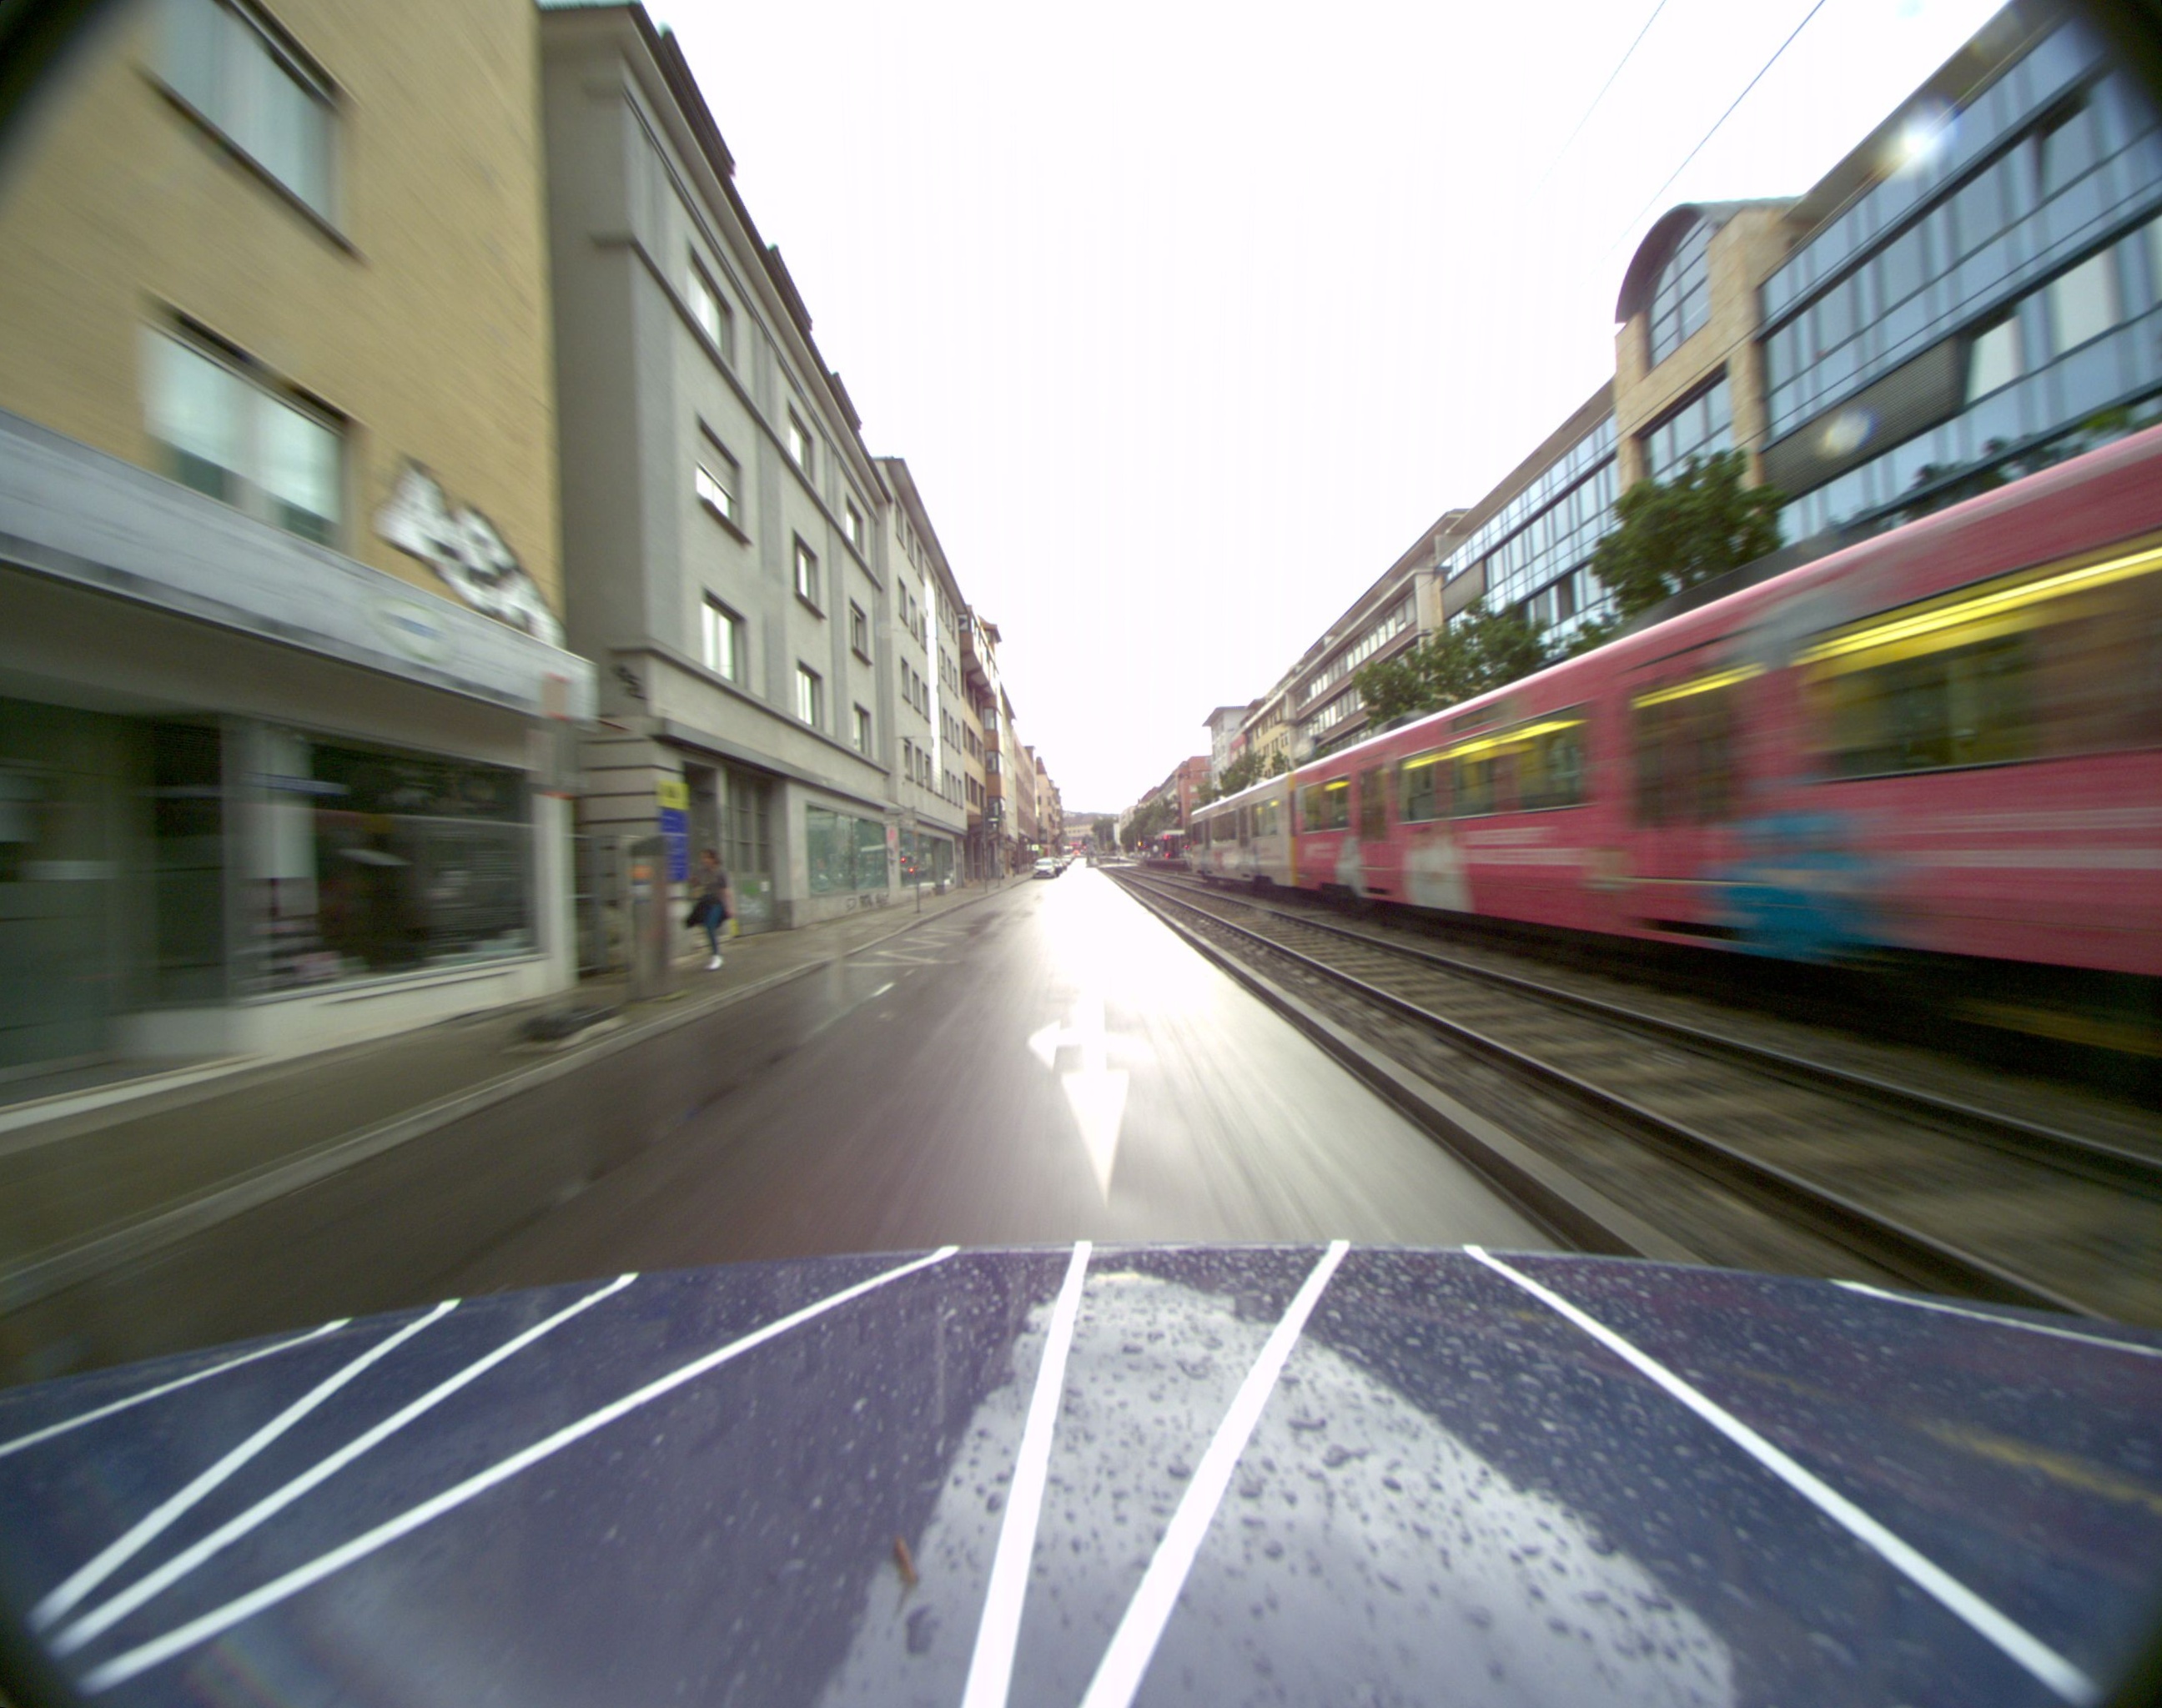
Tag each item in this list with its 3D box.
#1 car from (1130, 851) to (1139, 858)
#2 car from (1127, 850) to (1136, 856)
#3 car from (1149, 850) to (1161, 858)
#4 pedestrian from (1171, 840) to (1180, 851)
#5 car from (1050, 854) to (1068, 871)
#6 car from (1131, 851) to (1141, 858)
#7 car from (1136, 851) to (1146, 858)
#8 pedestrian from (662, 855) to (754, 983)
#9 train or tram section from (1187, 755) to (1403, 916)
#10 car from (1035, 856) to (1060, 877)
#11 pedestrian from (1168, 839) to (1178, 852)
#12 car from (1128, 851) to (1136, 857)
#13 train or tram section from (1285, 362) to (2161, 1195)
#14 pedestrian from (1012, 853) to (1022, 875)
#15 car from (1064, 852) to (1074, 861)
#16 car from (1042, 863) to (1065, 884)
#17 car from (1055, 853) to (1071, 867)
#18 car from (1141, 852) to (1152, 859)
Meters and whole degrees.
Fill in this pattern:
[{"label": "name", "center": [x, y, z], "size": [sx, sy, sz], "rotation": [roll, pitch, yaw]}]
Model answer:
[{"label": "car", "center": [14.116, 0.147, 202.300], "size": [1.999, 1.779, 3.999], "rotation": [-2, 0, -1]}, {"label": "car", "center": [13.805, -0.297, 208.351], "size": [1.999, 1.779, 3.999], "rotation": [-2, 0, -1]}, {"label": "car", "center": [15.724, -0.035, 161.901], "size": [1.999, 1.652, 4.000], "rotation": [-3, 0, -1]}, {"label": "pedestrian", "center": [10.237, -0.913, 82.374], "size": [0.815, 1.248, 0.637], "rotation": [-2, 1, -2]}, {"label": "car", "center": [-2.220, 0.843, 77.567], "size": [1.653, 1.584, 4.067], "rotation": [-2, 0, 1]}, {"label": "car", "center": [14.229, 0.049, 197.258], "size": [1.999, 1.779, 4.163], "rotation": [-2, 0, -1]}, {"label": "car", "center": [14.550, 0.117, 183.092], "size": [1.999, 1.652, 3.999], "rotation": [-2, 0, -1]}, {"label": "pedestrian", "center": [-5.108, 0.860, 10.446], "size": [0.793, 1.649, 0.721], "rotation": [-4, 1, 0]}, {"label": "train or tram section", "center": [6.774, -0.575, 28.684], "size": [2.909, 4.027, 18.409], "rotation": [-2, 1, 0]}, {"label": "car", "center": [-2.610, 0.980, 59.536], "size": [1.653, 1.489, 4.067], "rotation": [-2, 0, 1]}, {"label": "pedestrian", "center": [10.096, -0.930, 83.029], "size": [0.958, 1.378, 0.637], "rotation": [-2, 1, -2]}, {"label": "car", "center": [14.413, -0.001, 214.118], "size": [1.999, 1.779, 3.999], "rotation": [-2, 0, -1]}, {"label": "train or tram section", "center": [6.706, -0.467, 10.014], "size": [2.909, 4.027, 18.765], "rotation": [-2, 1, 0]}, {"label": "pedestrian", "center": [-4.923, 0.774, 58.679], "size": [0.640, 1.690, 0.883], "rotation": [-2, 1, 1]}, {"label": "car", "center": [-2.317, 0.514, 148.666], "size": [1.653, 1.584, 4.067], "rotation": [-2, 0, 1]}, {"label": "car", "center": [-2.268, 1.602, 64.249], "size": [1.653, 1.584, 4.067], "rotation": [-2, 0, 1]}, {"label": "car", "center": [-2.209, 0.688, 93.784], "size": [1.653, 1.584, 4.067], "rotation": [-2, 0, 1]}, {"label": "car", "center": [14.907, 0.364, 172.934], "size": [1.999, 1.652, 3.999], "rotation": [-2, 0, -1]}]
